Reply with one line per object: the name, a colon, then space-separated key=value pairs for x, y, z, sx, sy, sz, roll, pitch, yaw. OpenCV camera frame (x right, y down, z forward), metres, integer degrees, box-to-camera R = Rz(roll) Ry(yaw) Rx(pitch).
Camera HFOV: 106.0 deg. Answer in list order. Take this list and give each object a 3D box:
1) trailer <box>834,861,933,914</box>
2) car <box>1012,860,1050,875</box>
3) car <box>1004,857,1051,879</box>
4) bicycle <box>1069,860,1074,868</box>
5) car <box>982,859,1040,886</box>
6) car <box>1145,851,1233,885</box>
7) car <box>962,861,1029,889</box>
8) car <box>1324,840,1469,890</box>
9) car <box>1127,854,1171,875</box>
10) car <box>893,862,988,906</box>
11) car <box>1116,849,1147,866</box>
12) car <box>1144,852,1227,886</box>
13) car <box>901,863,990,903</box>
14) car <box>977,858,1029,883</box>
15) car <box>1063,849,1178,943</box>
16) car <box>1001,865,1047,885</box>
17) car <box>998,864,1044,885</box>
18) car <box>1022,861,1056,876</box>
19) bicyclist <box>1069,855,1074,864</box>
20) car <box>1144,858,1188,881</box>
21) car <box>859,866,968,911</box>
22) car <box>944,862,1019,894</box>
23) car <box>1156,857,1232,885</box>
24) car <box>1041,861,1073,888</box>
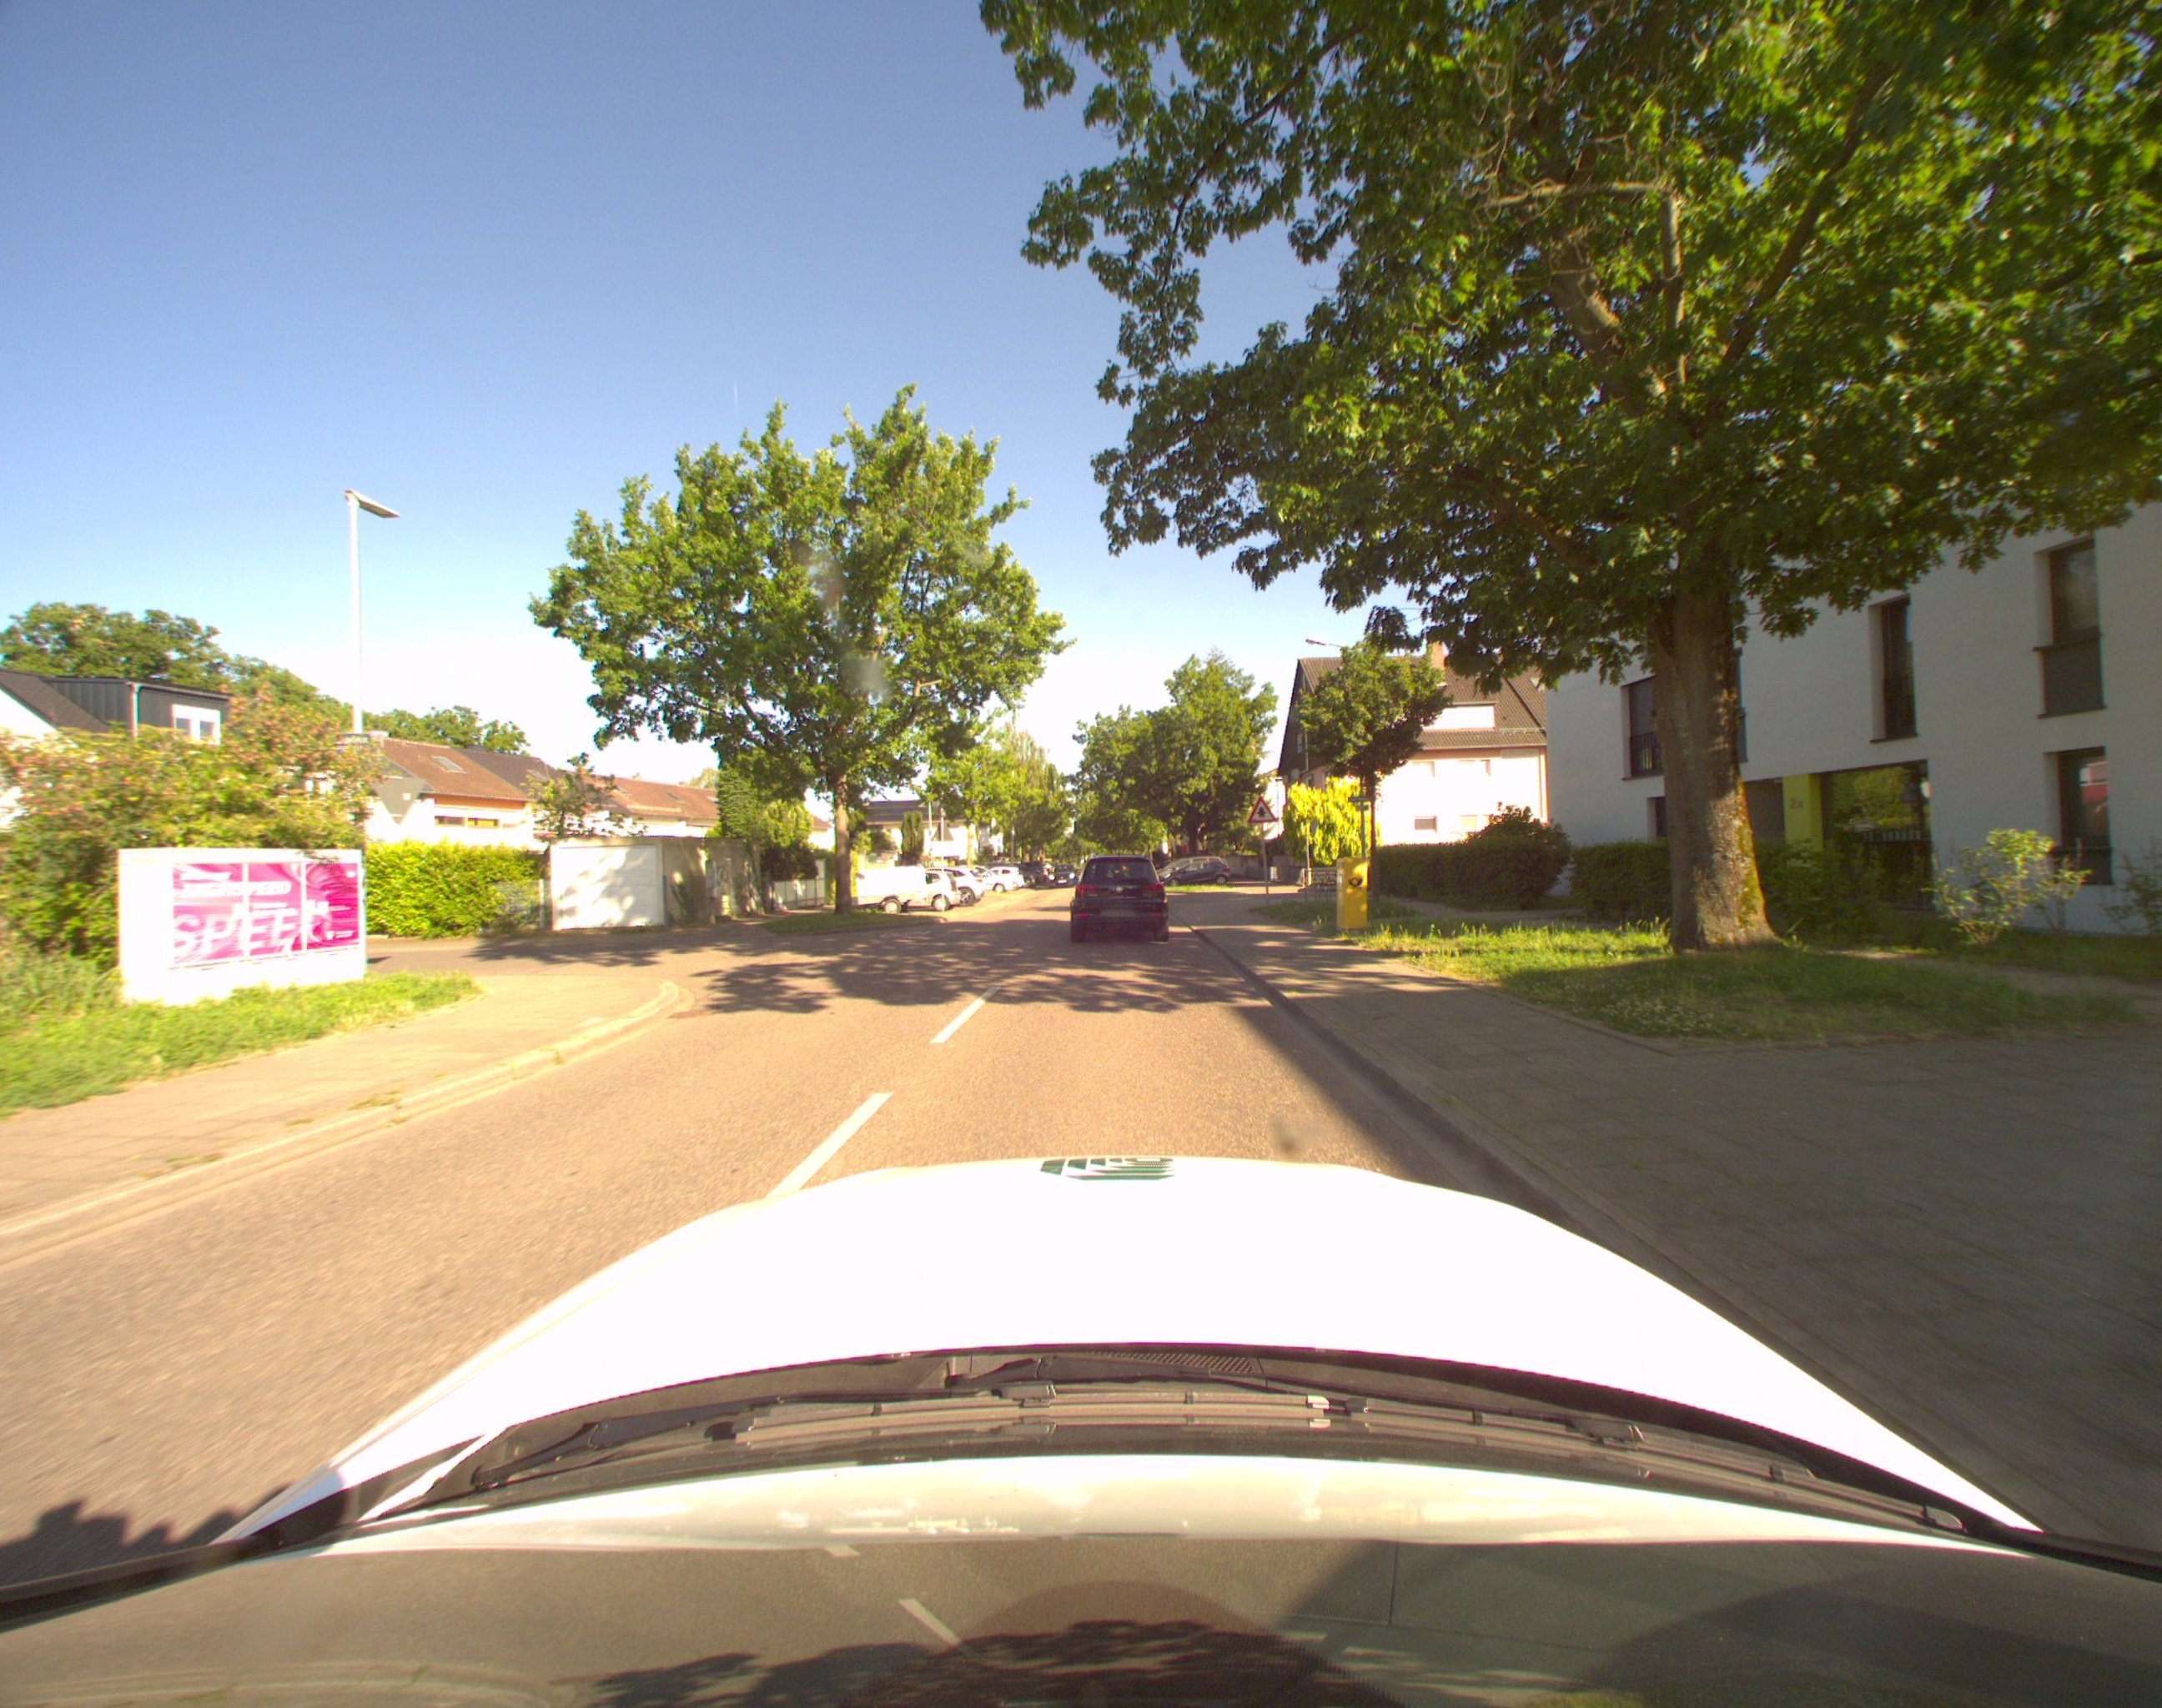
trailer: x=-6.632 y=1.106 z=27.511 sx=2.960 sy=1.656 sz=1.395 roll=-2 pitch=-1 yaw=-3
car: x=-5.421 y=1.477 z=88.936 sx=3.972 sy=1.499 sz=2.000 roll=-2 pitch=-3 yaw=1
car: x=-5.030 y=1.369 z=77.015 sx=4.381 sy=1.939 sz=1.576 roll=-1 pitch=-2 yaw=-4
bicycle: x=-1.453 y=1.549 z=124.622 sx=0.636 sy=1.163 sz=1.739 roll=-2 pitch=-3 yaw=-3
car: x=-4.898 y=1.323 z=57.444 sx=3.978 sy=1.731 sz=1.998 roll=-2 pitch=-1 yaw=-3
car: x=6.701 y=0.866 z=50.830 sx=5.242 sy=1.945 sz=2.000 roll=-2 pitch=-1 yaw=0
car: x=-5.480 y=1.333 z=52.687 sx=3.971 sy=1.640 sz=2.001 roll=-2 pitch=-1 yaw=2
car: x=13.146 y=0.464 z=34.179 sx=5.227 sy=1.847 sz=2.070 roll=-2 pitch=-2 yaw=-2
car: x=6.339 y=0.977 z=76.255 sx=3.972 sy=1.775 sz=1.790 roll=-2 pitch=-1 yaw=1
car: x=-5.551 y=1.171 z=32.542 sx=3.543 sy=1.613 sz=1.849 roll=-2 pitch=-1 yaw=-5
car: x=6.621 y=0.440 z=107.805 sx=3.972 sy=2.014 sz=2.000 roll=-2 pitch=-3 yaw=1
car: x=6.104 y=0.872 z=47.794 sx=4.617 sy=1.809 sz=1.824 roll=-2 pitch=-1 yaw=0
car: x=-5.813 y=1.238 z=35.233 sx=3.542 sy=1.557 sz=1.850 roll=-2 pitch=-1 yaw=-4
car: x=-6.203 y=1.316 z=64.913 sx=3.978 sy=1.836 sz=1.635 roll=-2 pitch=-1 yaw=-4
car: x=0.649 y=0.751 z=16.718 sx=1.925 sy=1.654 sz=4.509 roll=0 pitch=0 yaw=-3
car: x=-5.204 y=1.937 z=74.522 sx=3.974 sy=1.720 sz=1.820 roll=-2 pitch=-2 yaw=0
car: x=-4.552 y=1.528 z=62.032 sx=3.363 sy=1.490 sz=1.642 roll=-2 pitch=-1 yaw=-3
car: x=-5.200 y=1.753 z=100.000 sx=3.983 sy=1.684 sz=1.918 roll=-2 pitch=-1 yaw=-7
bicyclist: x=-1.486 y=0.909 z=124.707 sx=0.699 sy=1.346 sz=0.506 roll=-2 pitch=-3 yaw=-4
car: x=6.221 y=1.137 z=59.644 sx=3.039 sy=1.507 sz=1.244 roll=-2 pitch=-1 yaw=-6
car: x=-6.096 y=1.245 z=29.867 sx=3.537 sy=1.477 sz=1.808 roll=-2 pitch=-1 yaw=0
car: x=-5.731 y=1.364 z=47.348 sx=3.972 sy=1.670 sz=2.001 roll=-2 pitch=-1 yaw=1
car: x=6.228 y=0.949 z=45.294 sx=3.973 sy=1.368 sz=1.846 roll=-2 pitch=-1 yaw=0
car: x=-1.512 y=1.324 z=53.099 sx=1.903 sy=1.555 sz=3.999 roll=-3 pitch=-1 yaw=0
